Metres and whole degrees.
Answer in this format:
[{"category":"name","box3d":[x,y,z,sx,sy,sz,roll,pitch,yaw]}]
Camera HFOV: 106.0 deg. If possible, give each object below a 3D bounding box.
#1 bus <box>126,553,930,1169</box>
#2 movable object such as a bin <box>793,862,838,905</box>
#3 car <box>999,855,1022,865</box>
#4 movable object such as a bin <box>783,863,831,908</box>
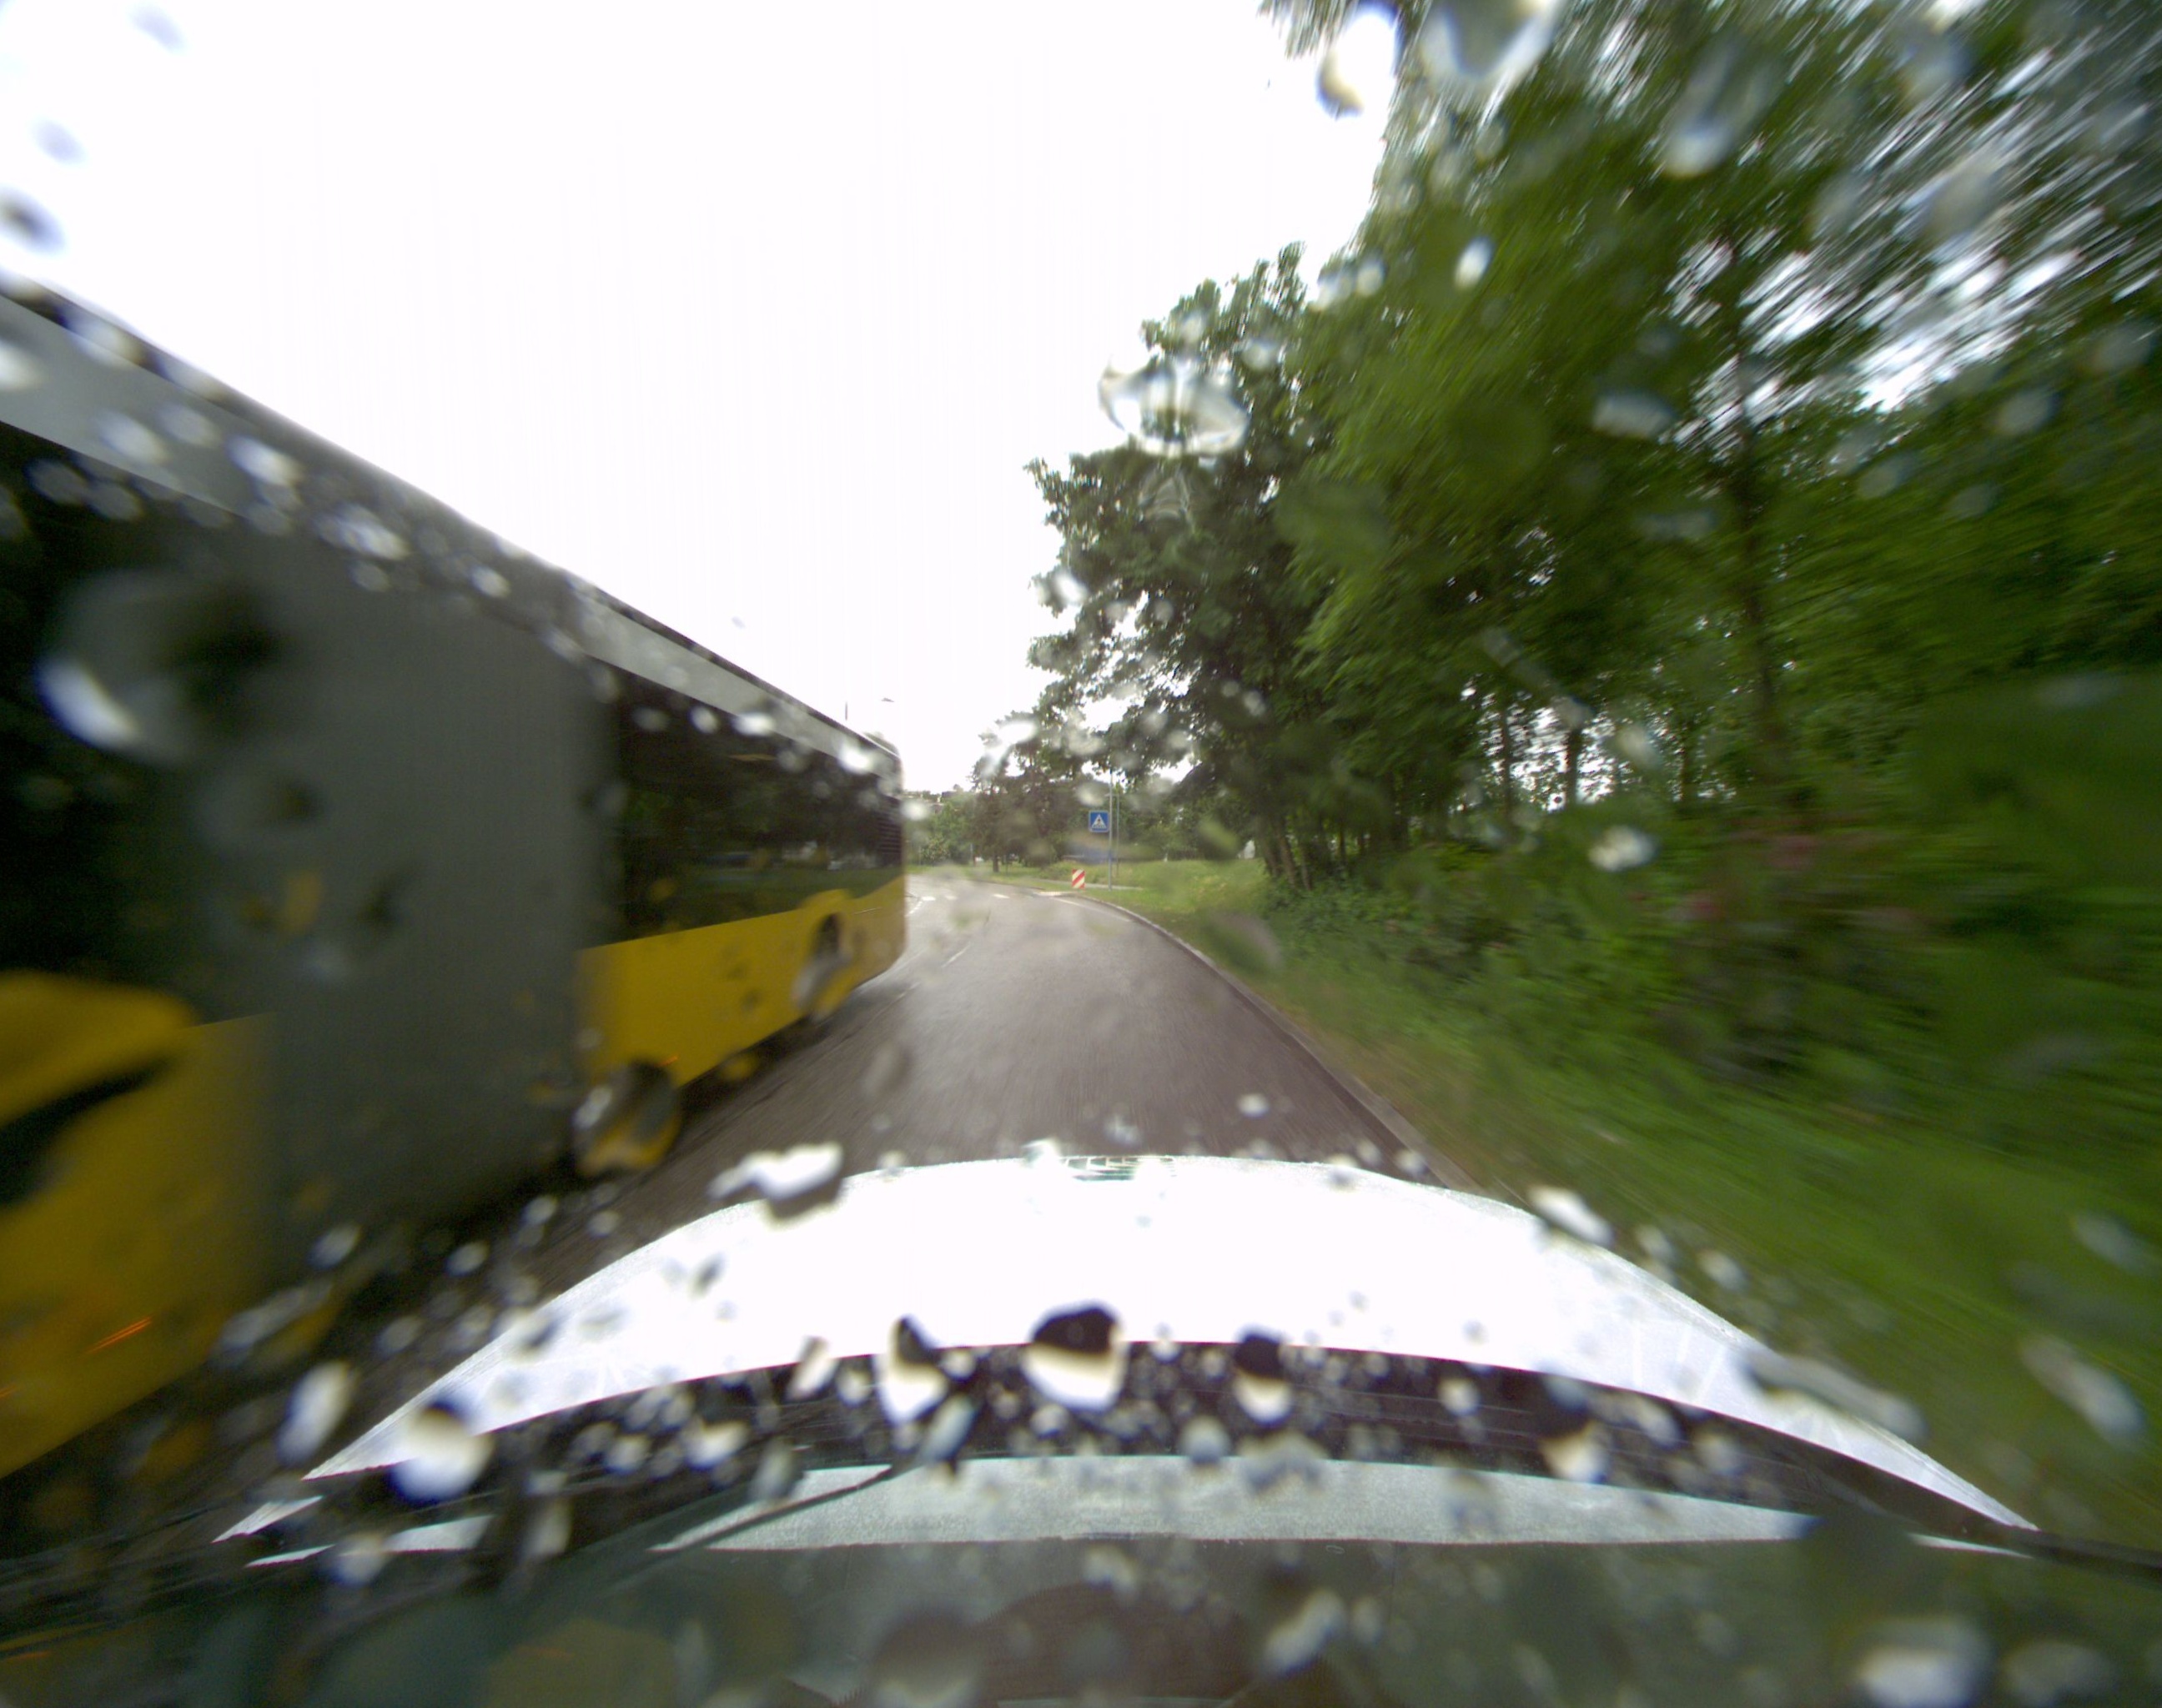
[{"category":"bus","box3d":[-3.436,0.041,7.886,2.632,3.032,7.662,0,0,-1]},{"category":"movable object such as a bin","box3d":[-8.801,0.970,27.044,1.130,1.322,1.358,3,-1,-8]},{"category":"car","box3d":[-15.012,1.313,172.838,4.501,1.750,1.924,-3,0,26]},{"category":"movable object such as a bin","box3d":[-8.569,0.967,25.536,1.130,1.301,1.394,3,-1,-8]}]
